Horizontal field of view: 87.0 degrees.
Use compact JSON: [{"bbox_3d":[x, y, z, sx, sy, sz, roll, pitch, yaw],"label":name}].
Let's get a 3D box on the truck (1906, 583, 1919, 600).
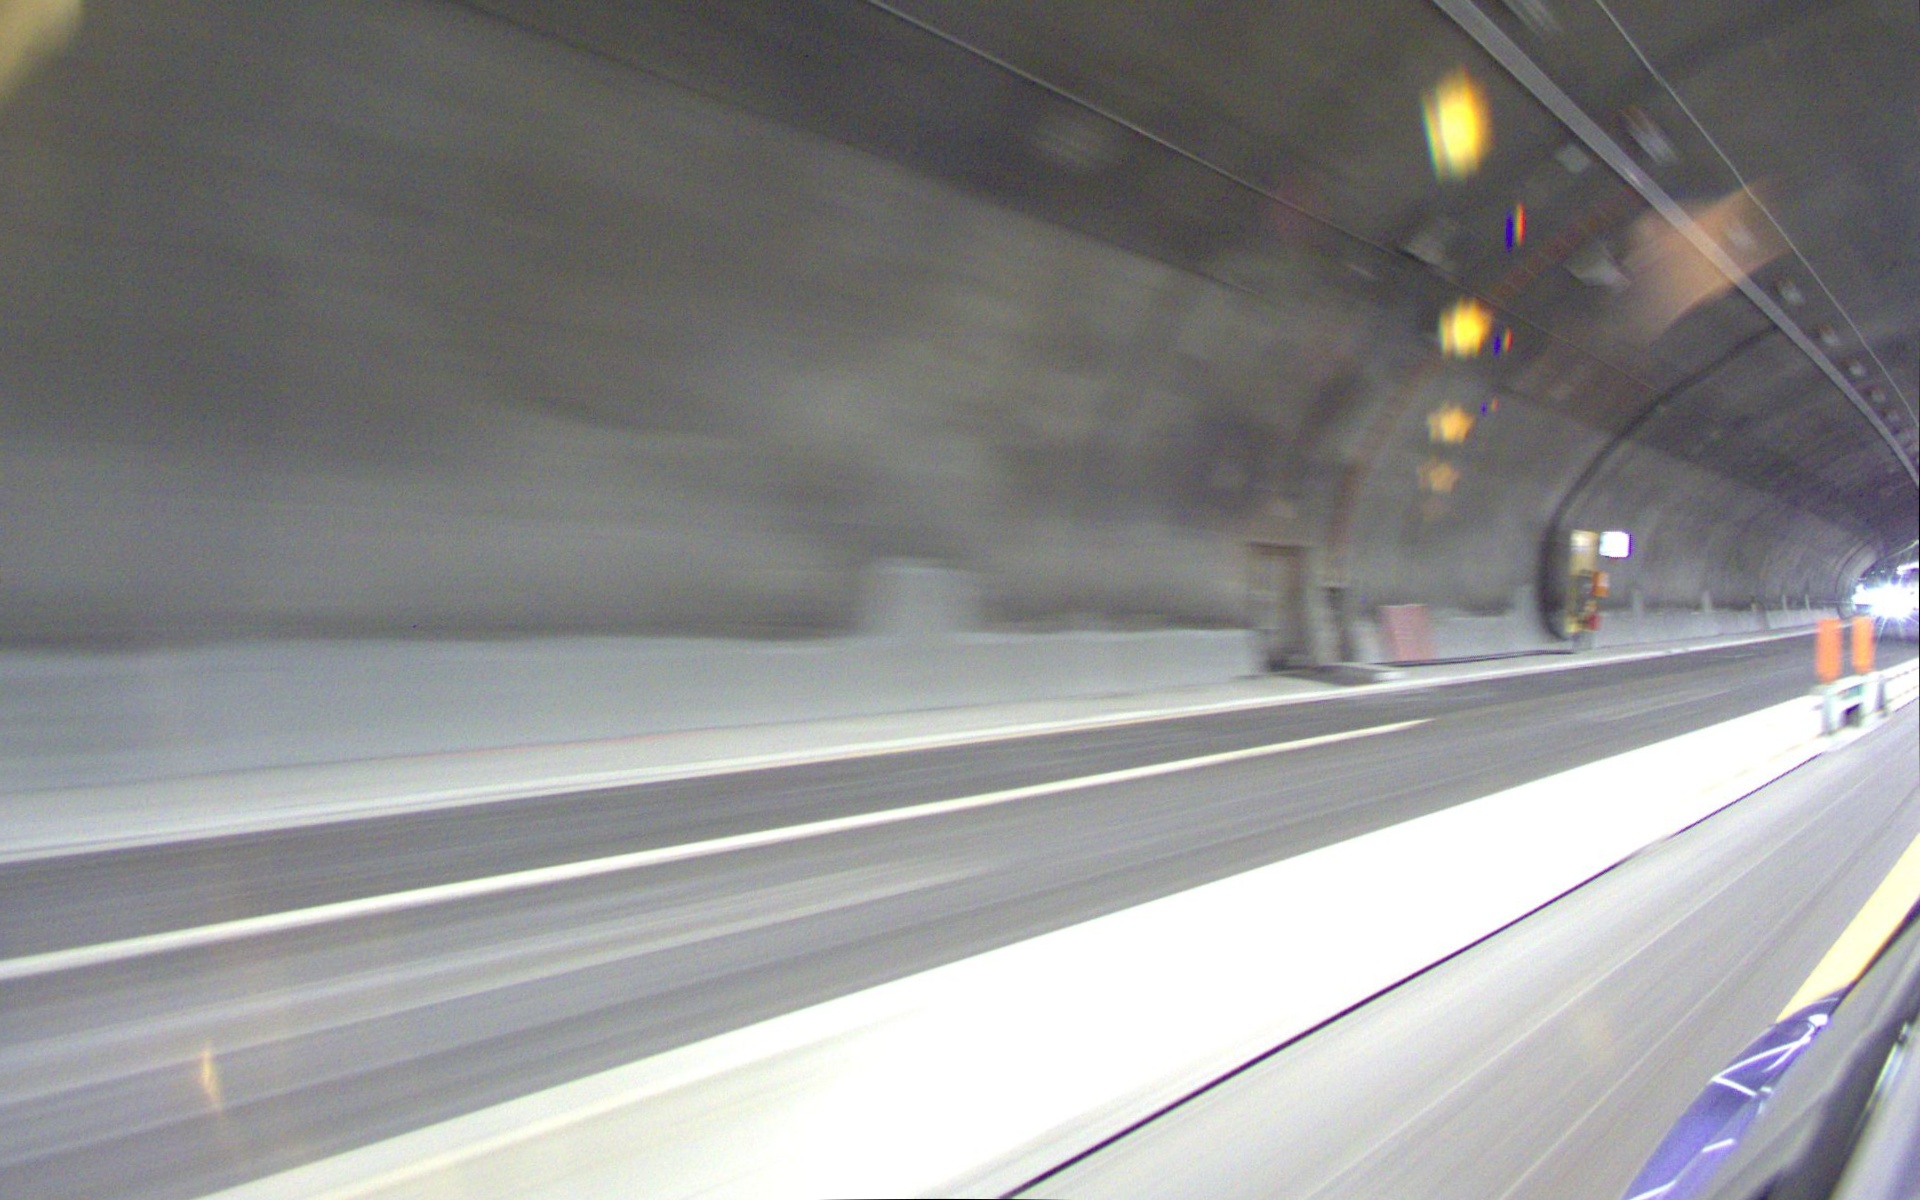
[{"bbox_3d":[162.789,-1.487,171.949,2.600,2.773,6.304,1,1,40],"label":"truck"}]
